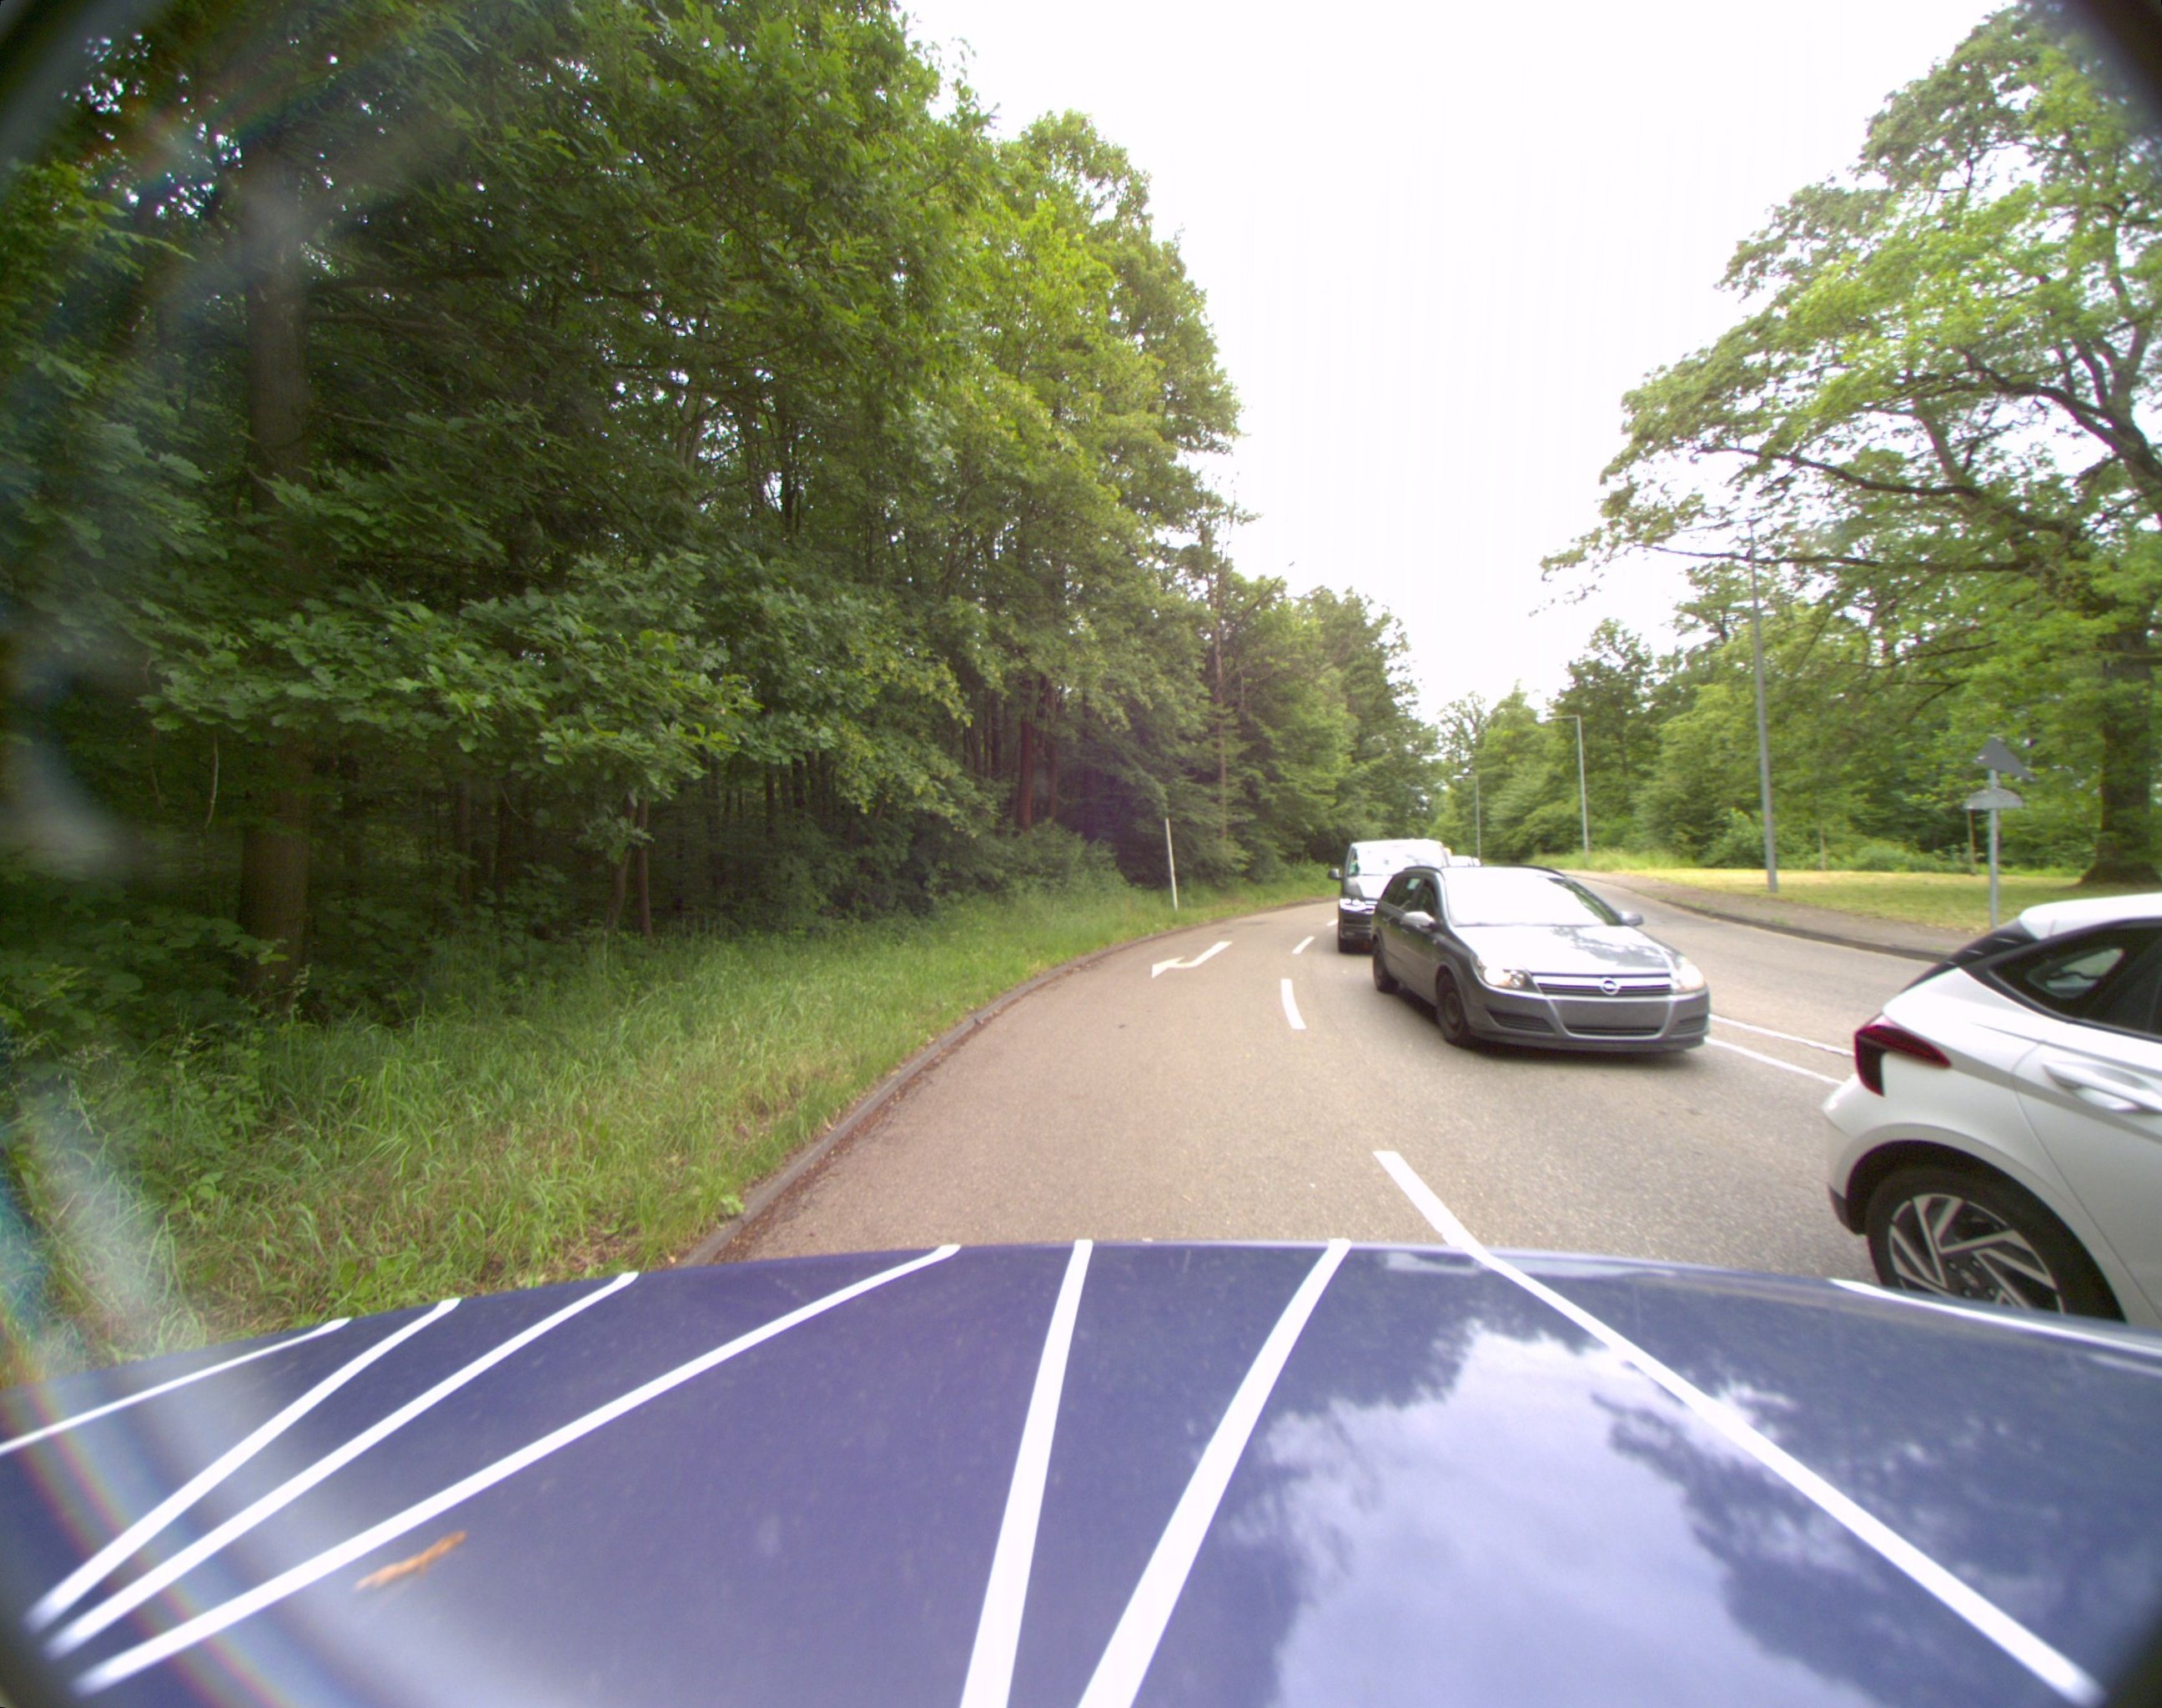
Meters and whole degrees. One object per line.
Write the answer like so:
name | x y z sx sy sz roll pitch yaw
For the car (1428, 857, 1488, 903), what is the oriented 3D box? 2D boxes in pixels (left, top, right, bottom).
car | 13.407 0.892 27.171 1.775 1.490 3.880 -2 -1 25

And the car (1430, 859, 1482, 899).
car | 15.210 0.984 30.949 1.775 1.490 3.880 -2 -1 25

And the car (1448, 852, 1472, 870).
car | 34.177 0.619 68.470 1.775 1.490 3.880 -2 -1 28

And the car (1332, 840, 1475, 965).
car | 5.745 0.763 13.832 1.987 1.861 4.539 -1 -1 21

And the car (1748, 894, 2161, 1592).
car | 3.146 0.862 0.666 1.653 1.470 4.074 -1 -1 3

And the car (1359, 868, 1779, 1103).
car | 4.005 0.912 7.252 1.801 1.470 4.474 -1 -1 11

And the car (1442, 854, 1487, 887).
car | 18.222 0.771 36.210 1.775 1.490 3.880 -2 -1 25

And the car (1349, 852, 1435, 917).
car | 8.941 0.804 21.663 1.790 1.664 3.998 -2 -1 28

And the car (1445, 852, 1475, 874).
car | 26.816 0.648 53.704 1.775 1.490 3.880 -2 -1 28

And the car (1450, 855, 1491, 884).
car | 20.961 0.807 41.022 1.775 1.490 3.880 -2 -1 25
